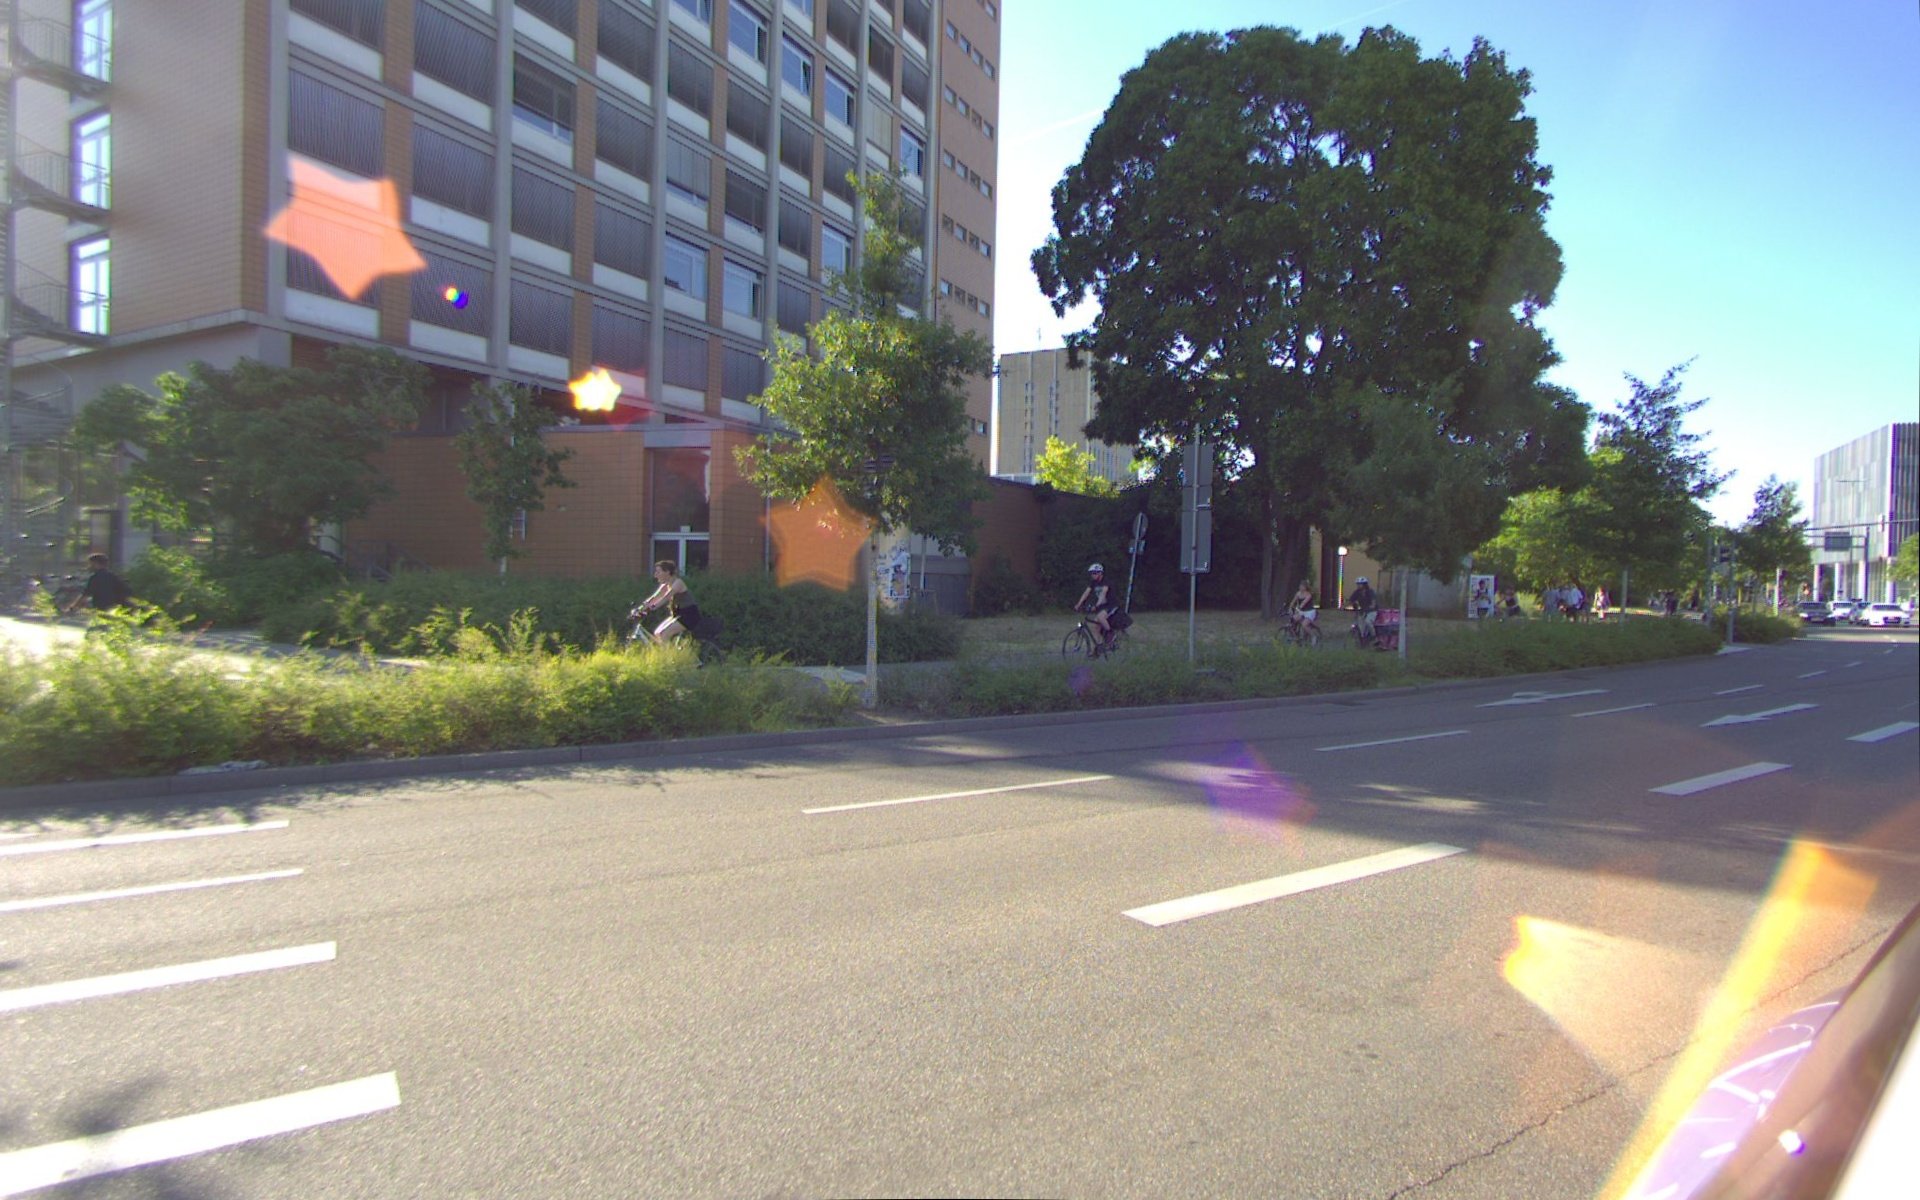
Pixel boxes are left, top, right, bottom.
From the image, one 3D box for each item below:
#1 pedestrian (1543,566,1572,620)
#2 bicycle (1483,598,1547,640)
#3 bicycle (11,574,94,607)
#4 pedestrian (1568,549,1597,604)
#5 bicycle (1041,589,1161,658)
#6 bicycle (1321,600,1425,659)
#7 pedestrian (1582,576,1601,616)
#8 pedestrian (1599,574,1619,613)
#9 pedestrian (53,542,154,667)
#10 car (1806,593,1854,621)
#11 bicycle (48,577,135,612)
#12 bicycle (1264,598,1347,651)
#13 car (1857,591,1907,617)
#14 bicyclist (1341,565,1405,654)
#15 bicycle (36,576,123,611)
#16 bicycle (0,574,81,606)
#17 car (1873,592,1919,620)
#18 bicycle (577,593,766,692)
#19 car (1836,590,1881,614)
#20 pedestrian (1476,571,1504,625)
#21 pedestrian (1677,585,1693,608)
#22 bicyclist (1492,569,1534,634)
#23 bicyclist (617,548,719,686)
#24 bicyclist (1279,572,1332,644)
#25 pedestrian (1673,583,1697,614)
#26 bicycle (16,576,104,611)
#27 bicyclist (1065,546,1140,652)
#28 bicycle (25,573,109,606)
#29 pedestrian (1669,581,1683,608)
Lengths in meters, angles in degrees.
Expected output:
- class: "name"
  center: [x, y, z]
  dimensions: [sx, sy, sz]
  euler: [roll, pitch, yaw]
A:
- class: "pedestrian"
  center: [21.189, -0.246, 35.907]
  dimensions: [0.610, 1.892, 0.577]
  euler: [1, 1, -5]
- class: "bicycle"
  center: [15.762, 0.523, 28.737]
  dimensions: [2.026, 1.135, 0.720]
  euler: [0, 0, -33]
- class: "bicycle"
  center: [-24.879, -0.276, 27.768]
  dimensions: [0.524, 0.868, 1.637]
  euler: [1, 1, 29]
- class: "pedestrian"
  center: [21.705, -0.825, 35.293]
  dimensions: [0.610, 1.892, 0.577]
  euler: [1, 1, -5]
- class: "bicycle"
  center: [2.578, 0.397, 18.340]
  dimensions: [2.248, 1.170, 0.780]
  euler: [0, 2, -37]
- class: "bicycle"
  center: [8.912, 0.606, 21.771]
  dimensions: [2.531, 1.170, 0.781]
  euler: [0, 1, -34]
- class: "pedestrian"
  center: [25.367, -0.170, 40.643]
  dimensions: [0.618, 1.594, 0.632]
  euler: [2, 1, 34]
- class: "pedestrian"
  center: [29.849, -0.307, 46.531]
  dimensions: [0.670, 1.725, 0.868]
  euler: [2, 1, 28]
- class: "pedestrian"
  center: [-11.895, 0.069, 14.080]
  dimensions: [0.773, 1.680, 0.810]
  euler: [0, -1, -14]
- class: "car"
  center: [51.401, 0.372, 59.835]
  dimensions: [1.793, 1.538, 3.948]
  euler: [2, 2, 36]
- class: "bicycle"
  center: [-22.448, -0.164, 26.174]
  dimensions: [0.524, 0.868, 1.637]
  euler: [1, 1, 29]
- class: "bicycle"
  center: [7.758, 0.556, 22.722]
  dimensions: [1.831, 1.136, 0.720]
  euler: [2, -1, -31]
- class: "car"
  center: [59.044, 0.210, 64.885]
  dimensions: [1.914, 1.538, 3.965]
  euler: [2, 2, 36]
- class: "bicyclist"
  center: [8.872, 0.188, 21.739]
  dimensions: [1.072, 1.856, 0.781]
  euler: [0, 1, -34]
- class: "bicycle"
  center: [-22.967, -0.179, 26.425]
  dimensions: [0.524, 0.868, 1.637]
  euler: [1, 1, 29]
- class: "bicycle"
  center: [-25.481, -0.282, 28.024]
  dimensions: [0.524, 0.868, 1.637]
  euler: [1, 1, 29]
- class: "car"
  center: [54.793, 0.335, 59.015]
  dimensions: [1.793, 1.538, 4.373]
  euler: [2, 2, 36]
- class: "bicycle"
  center: [-3.770, 0.520, 13.309]
  dimensions: [2.246, 1.170, 0.781]
  euler: [0, 4, -32]
- class: "car"
  center: [62.553, 0.131, 70.503]
  dimensions: [1.914, 1.538, 3.965]
  euler: [2, 2, 36]
- class: "pedestrian"
  center: [16.908, -0.071, 32.299]
  dimensions: [0.620, 1.720, 0.621]
  euler: [2, 1, 42]
- class: "pedestrian"
  center: [51.445, -0.266, 71.859]
  dimensions: [0.756, 1.562, 0.839]
  euler: [2, 1, 28]
- class: "bicyclist"
  center: [15.659, 0.028, 28.679]
  dimensions: [0.833, 1.811, 0.718]
  euler: [0, 0, -33]
- class: "bicyclist"
  center: [-3.825, 0.196, 13.249]
  dimensions: [1.071, 1.697, 0.781]
  euler: [0, 4, -32]
- class: "bicyclist"
  center: [7.762, 0.180, 22.729]
  dimensions: [0.832, 1.568, 0.718]
  euler: [2, -1, -31]
- class: "pedestrian"
  center: [43.194, -0.102, 60.289]
  dimensions: [1.009, 1.771, 0.841]
  euler: [2, 1, 28]
- class: "bicycle"
  center: [-23.597, -0.175, 26.562]
  dimensions: [0.524, 0.868, 1.637]
  euler: [1, 1, 29]
- class: "bicyclist"
  center: [2.581, -0.036, 18.325]
  dimensions: [1.073, 1.853, 0.780]
  euler: [0, 1, -37]
- class: "bicycle"
  center: [-24.227, -0.290, 27.483]
  dimensions: [0.524, 0.868, 1.637]
  euler: [1, 1, 29]
- class: "pedestrian"
  center: [47.377, -0.358, 66.996]
  dimensions: [0.708, 1.734, 0.725]
  euler: [2, 1, 34]
